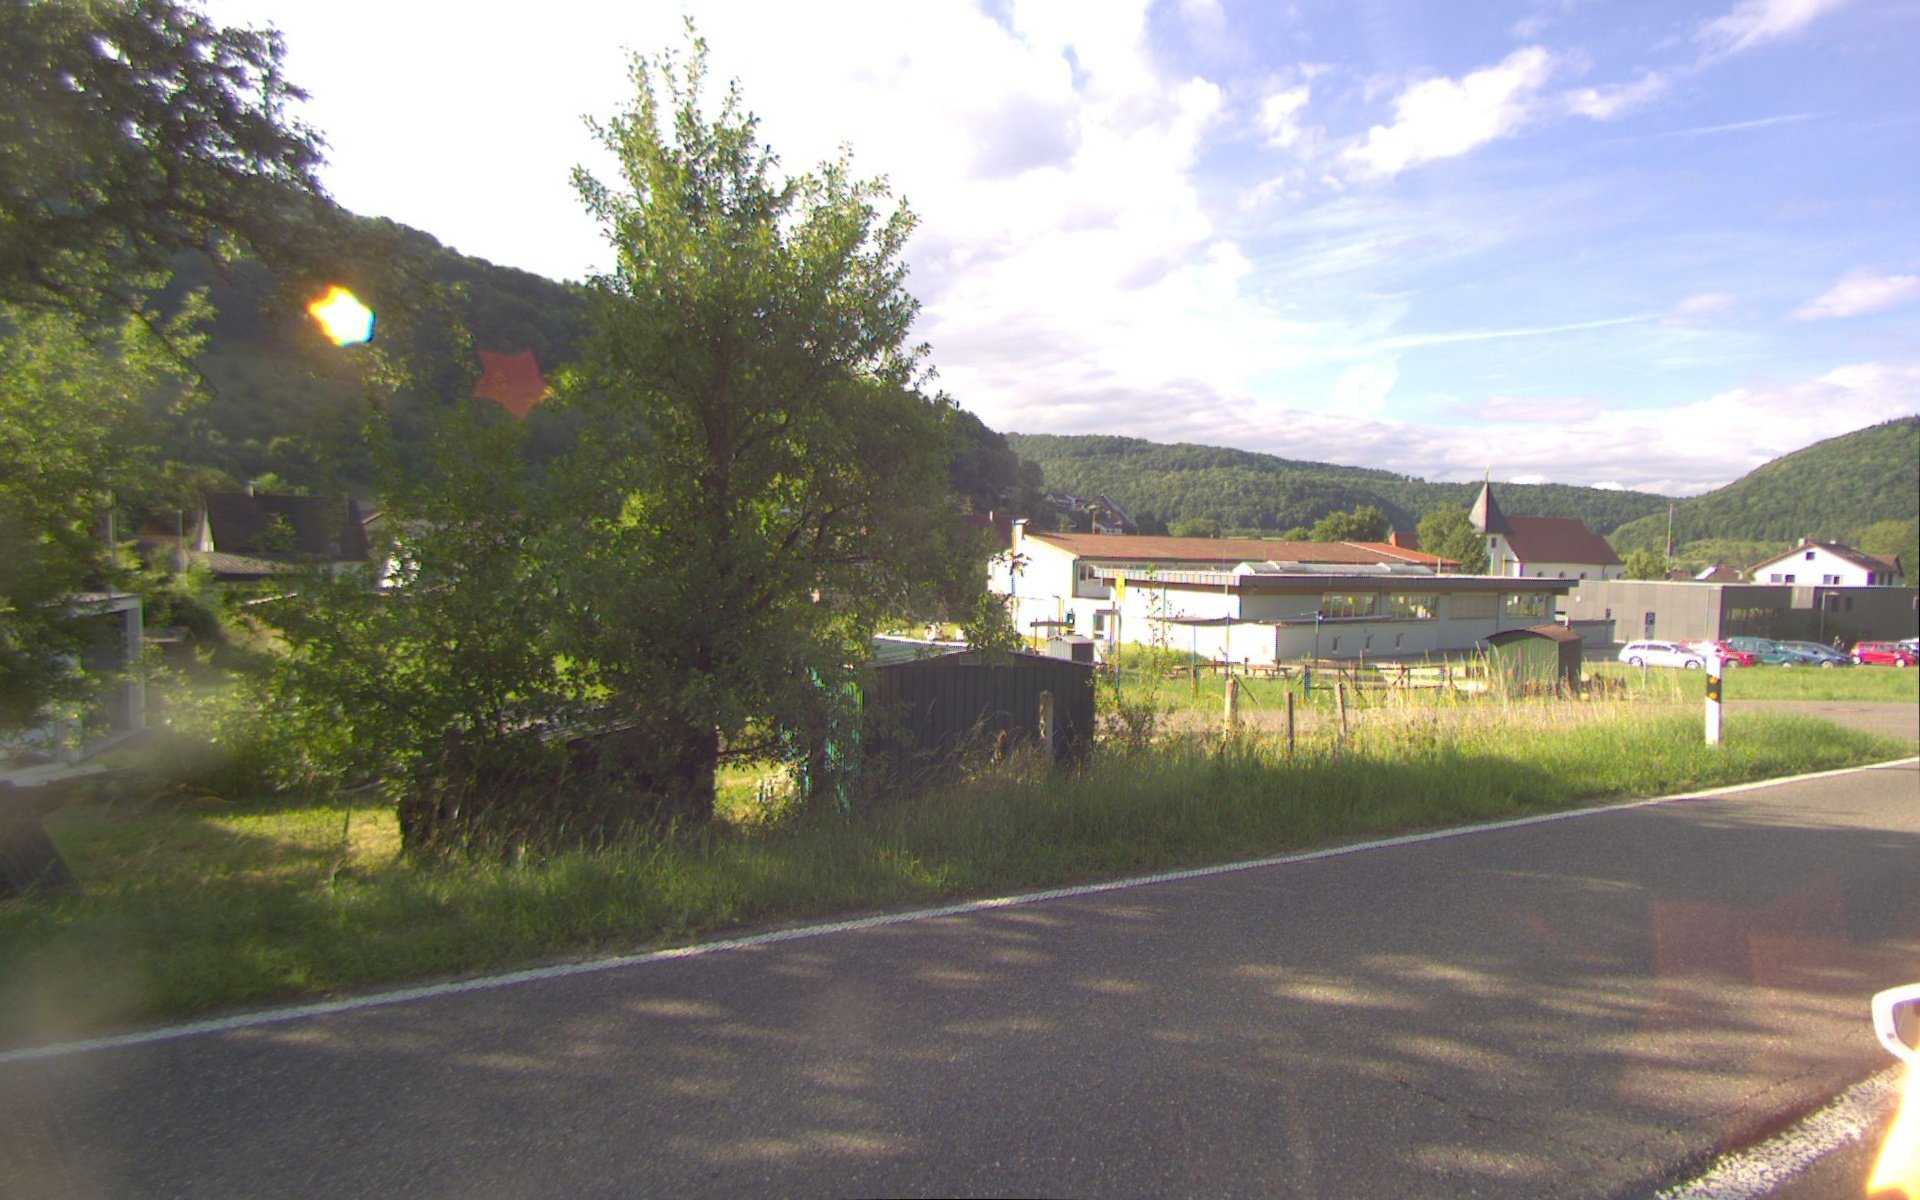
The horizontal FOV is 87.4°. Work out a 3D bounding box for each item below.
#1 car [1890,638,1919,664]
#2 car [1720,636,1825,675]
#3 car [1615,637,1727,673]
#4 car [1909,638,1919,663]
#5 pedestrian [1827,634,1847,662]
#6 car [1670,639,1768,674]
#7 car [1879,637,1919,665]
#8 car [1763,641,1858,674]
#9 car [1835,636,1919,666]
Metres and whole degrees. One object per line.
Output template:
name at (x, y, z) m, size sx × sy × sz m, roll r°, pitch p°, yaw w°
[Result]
car at (67.746, 3.589, 69.973) m, size 1.978 × 1.733 × 3.965 m, roll 2°, pitch 0°, yaw -32°
car at (47.704, 3.240, 59.063) m, size 1.978 × 2.034 × 4.382 m, roll 2°, pitch 0°, yaw -32°
car at (39.466, 3.036, 55.884) m, size 1.978 × 1.733 × 4.705 m, roll 2°, pitch 0°, yaw -32°
car at (70.583, 3.686, 71.545) m, size 1.978 × 1.733 × 3.965 m, roll 2°, pitch 0°, yaw -32°
pedestrian at (66.054, 3.628, 75.633) m, size 0.962 × 2.040 × 0.821 m, roll 2°, pitch 0°, yaw -30°
car at (42.662, 3.139, 56.514) m, size 1.978 × 1.733 × 3.965 m, roll 2°, pitch 0°, yaw -32°
car at (64.873, 3.488, 67.707) m, size 1.978 × 1.733 × 3.965 m, roll 2°, pitch 0°, yaw -32°
car at (51.407, 3.433, 60.796) m, size 1.978 × 1.733 × 3.965 m, roll 2°, pitch 0°, yaw -32°
car at (60.554, 3.345, 66.179) m, size 1.978 × 1.733 × 3.965 m, roll 2°, pitch 0°, yaw -32°
